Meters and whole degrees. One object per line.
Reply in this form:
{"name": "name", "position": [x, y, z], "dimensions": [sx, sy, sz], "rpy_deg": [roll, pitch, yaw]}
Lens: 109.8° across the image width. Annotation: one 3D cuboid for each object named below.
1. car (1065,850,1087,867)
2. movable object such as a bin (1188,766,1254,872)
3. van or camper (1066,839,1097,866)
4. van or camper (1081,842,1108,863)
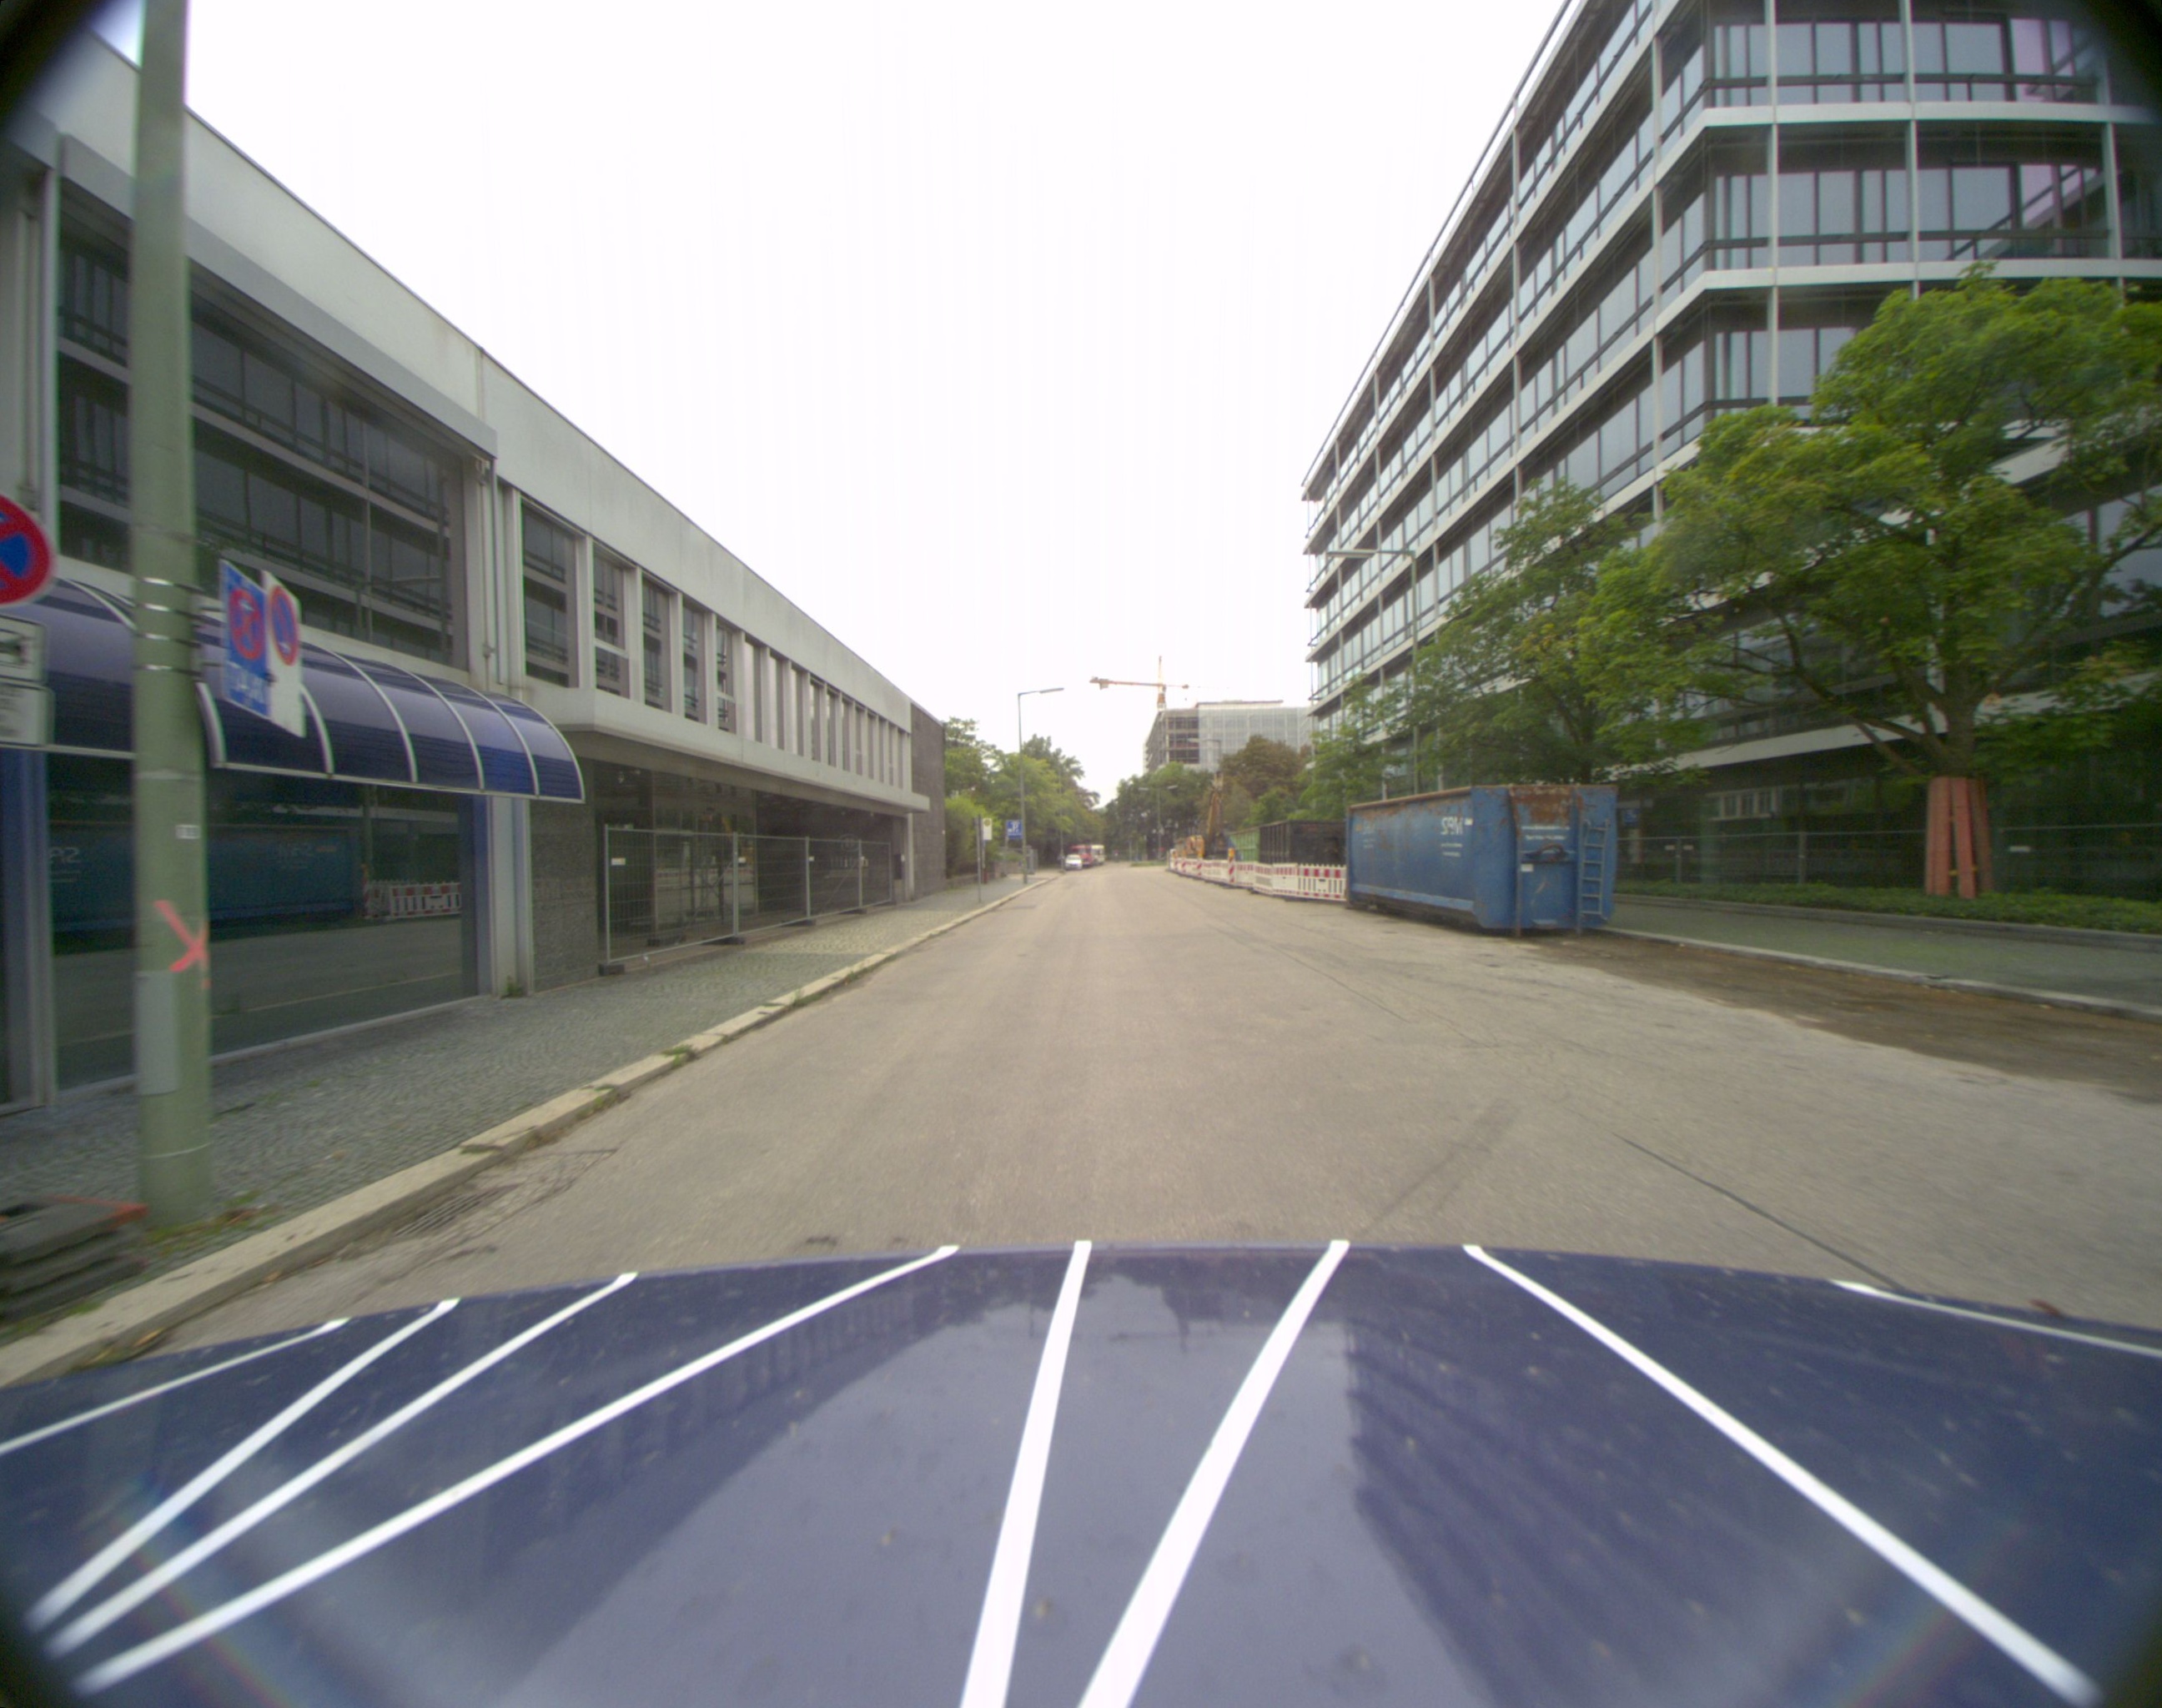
{"name": "car", "position": [-0.467, 0.455, 75.864], "dimensions": [1.912, 1.627, 4.001], "rpy_deg": [-1, 0, 3]}
{"name": "movable object such as a bin", "position": [8.944, -2.119, 49.571], "dimensions": [3.241, 6.286, 8.338], "rpy_deg": [-1, 1, 4]}
{"name": "van or camper", "position": [0.099, -0.175, 82.120], "dimensions": [2.666, 2.751, 6.917], "rpy_deg": [-1, 0, 5]}
{"name": "van or camper", "position": [1.737, -0.206, 96.383], "dimensions": [2.665, 2.436, 6.448], "rpy_deg": [-1, 0, 8]}
